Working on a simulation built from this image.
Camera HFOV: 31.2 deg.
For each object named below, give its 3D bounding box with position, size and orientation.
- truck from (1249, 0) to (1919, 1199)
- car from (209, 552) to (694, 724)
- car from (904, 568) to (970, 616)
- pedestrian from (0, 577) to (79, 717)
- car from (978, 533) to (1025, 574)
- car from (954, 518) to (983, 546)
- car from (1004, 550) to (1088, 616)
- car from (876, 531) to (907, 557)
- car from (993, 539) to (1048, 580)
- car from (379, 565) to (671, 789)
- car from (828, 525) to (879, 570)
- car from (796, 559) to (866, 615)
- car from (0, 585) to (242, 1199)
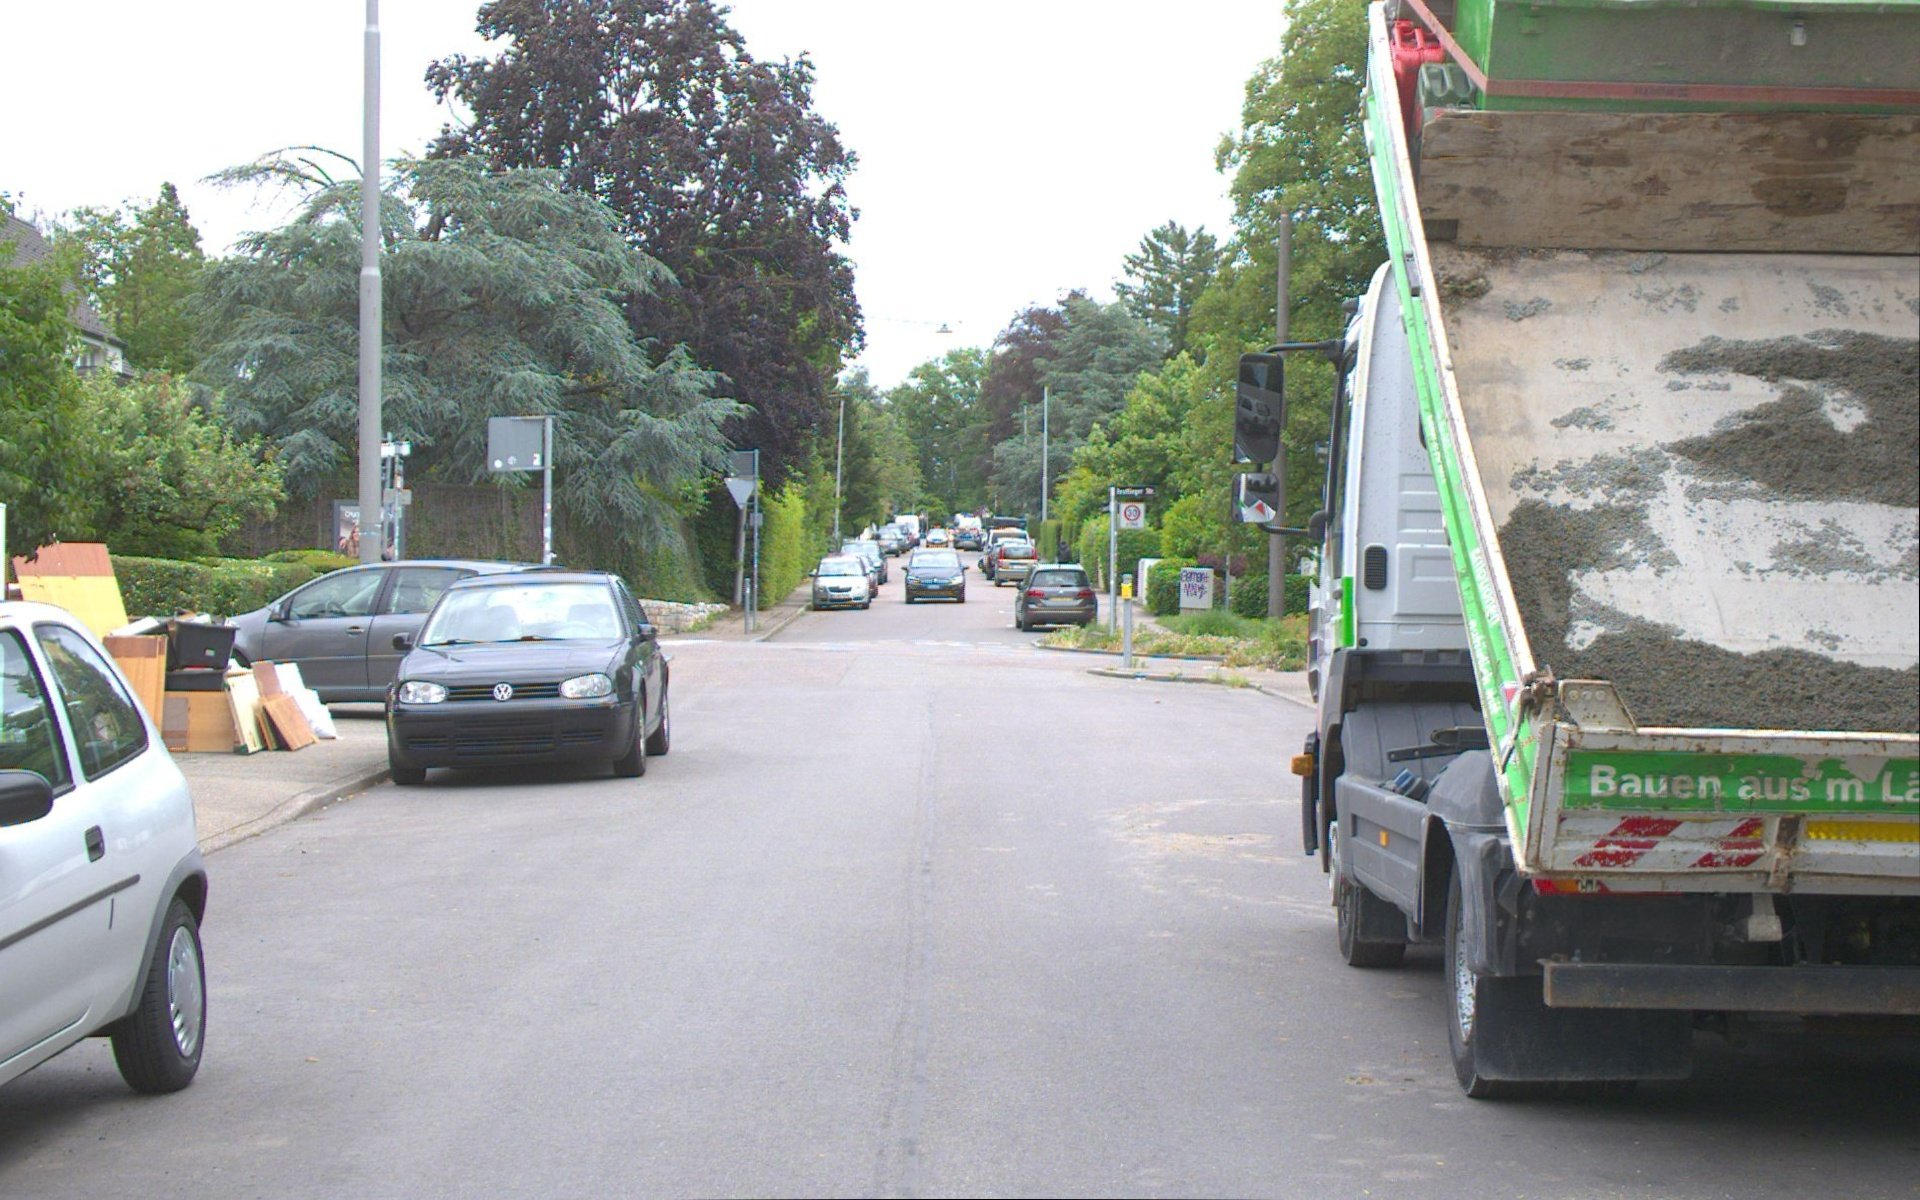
[{"bbox_3d":[2.541,-0.980,11.250,2.524,4.732,7.187,1,1,0],"label":"truck"},{"bbox_3d":[-4.634,0.311,31.477,3.990,1.439,1.825,1,1,16],"label":"car"},{"bbox_3d":[-0.691,-0.258,104.284,1.728,1.402,3.803,0,1,4],"label":"car"},{"bbox_3d":[-8.408,0.408,30.324,0.946,1.221,0.836,1,0,-42],"label":"pedestrian"},{"bbox_3d":[1.616,-1.817,133.389,1.789,1.524,3.734,1,1,1],"label":"car"},{"bbox_3d":[0.501,-4.135,208.427,1.634,1.695,3.494,1,1,-1],"label":"car"},{"bbox_3d":[2.002,-0.417,80.945,1.778,1.484,4.000,0,1,-1],"label":"car"},{"bbox_3d":[-3.772,-3.088,189.351,1.626,1.381,3.599,2,1,-1],"label":"car"},{"bbox_3d":[2.179,-1.475,124.514,1.810,1.331,3.633,2,2,-1],"label":"car"},{"bbox_3d":[-3.015,0.485,24.503,1.637,1.390,3.989,-2,1,-1],"label":"car"},{"bbox_3d":[-3.956,-1.971,128.312,1.711,1.580,4.000,1,2,1],"label":"car"},{"bbox_3d":[-3.765,-0.398,100.810,1.711,1.580,4.000,1,1,3],"label":"car"},{"bbox_3d":[-3.006,0.722,8.391,1.596,1.428,4.000,-2,1,1],"label":"car"}]
